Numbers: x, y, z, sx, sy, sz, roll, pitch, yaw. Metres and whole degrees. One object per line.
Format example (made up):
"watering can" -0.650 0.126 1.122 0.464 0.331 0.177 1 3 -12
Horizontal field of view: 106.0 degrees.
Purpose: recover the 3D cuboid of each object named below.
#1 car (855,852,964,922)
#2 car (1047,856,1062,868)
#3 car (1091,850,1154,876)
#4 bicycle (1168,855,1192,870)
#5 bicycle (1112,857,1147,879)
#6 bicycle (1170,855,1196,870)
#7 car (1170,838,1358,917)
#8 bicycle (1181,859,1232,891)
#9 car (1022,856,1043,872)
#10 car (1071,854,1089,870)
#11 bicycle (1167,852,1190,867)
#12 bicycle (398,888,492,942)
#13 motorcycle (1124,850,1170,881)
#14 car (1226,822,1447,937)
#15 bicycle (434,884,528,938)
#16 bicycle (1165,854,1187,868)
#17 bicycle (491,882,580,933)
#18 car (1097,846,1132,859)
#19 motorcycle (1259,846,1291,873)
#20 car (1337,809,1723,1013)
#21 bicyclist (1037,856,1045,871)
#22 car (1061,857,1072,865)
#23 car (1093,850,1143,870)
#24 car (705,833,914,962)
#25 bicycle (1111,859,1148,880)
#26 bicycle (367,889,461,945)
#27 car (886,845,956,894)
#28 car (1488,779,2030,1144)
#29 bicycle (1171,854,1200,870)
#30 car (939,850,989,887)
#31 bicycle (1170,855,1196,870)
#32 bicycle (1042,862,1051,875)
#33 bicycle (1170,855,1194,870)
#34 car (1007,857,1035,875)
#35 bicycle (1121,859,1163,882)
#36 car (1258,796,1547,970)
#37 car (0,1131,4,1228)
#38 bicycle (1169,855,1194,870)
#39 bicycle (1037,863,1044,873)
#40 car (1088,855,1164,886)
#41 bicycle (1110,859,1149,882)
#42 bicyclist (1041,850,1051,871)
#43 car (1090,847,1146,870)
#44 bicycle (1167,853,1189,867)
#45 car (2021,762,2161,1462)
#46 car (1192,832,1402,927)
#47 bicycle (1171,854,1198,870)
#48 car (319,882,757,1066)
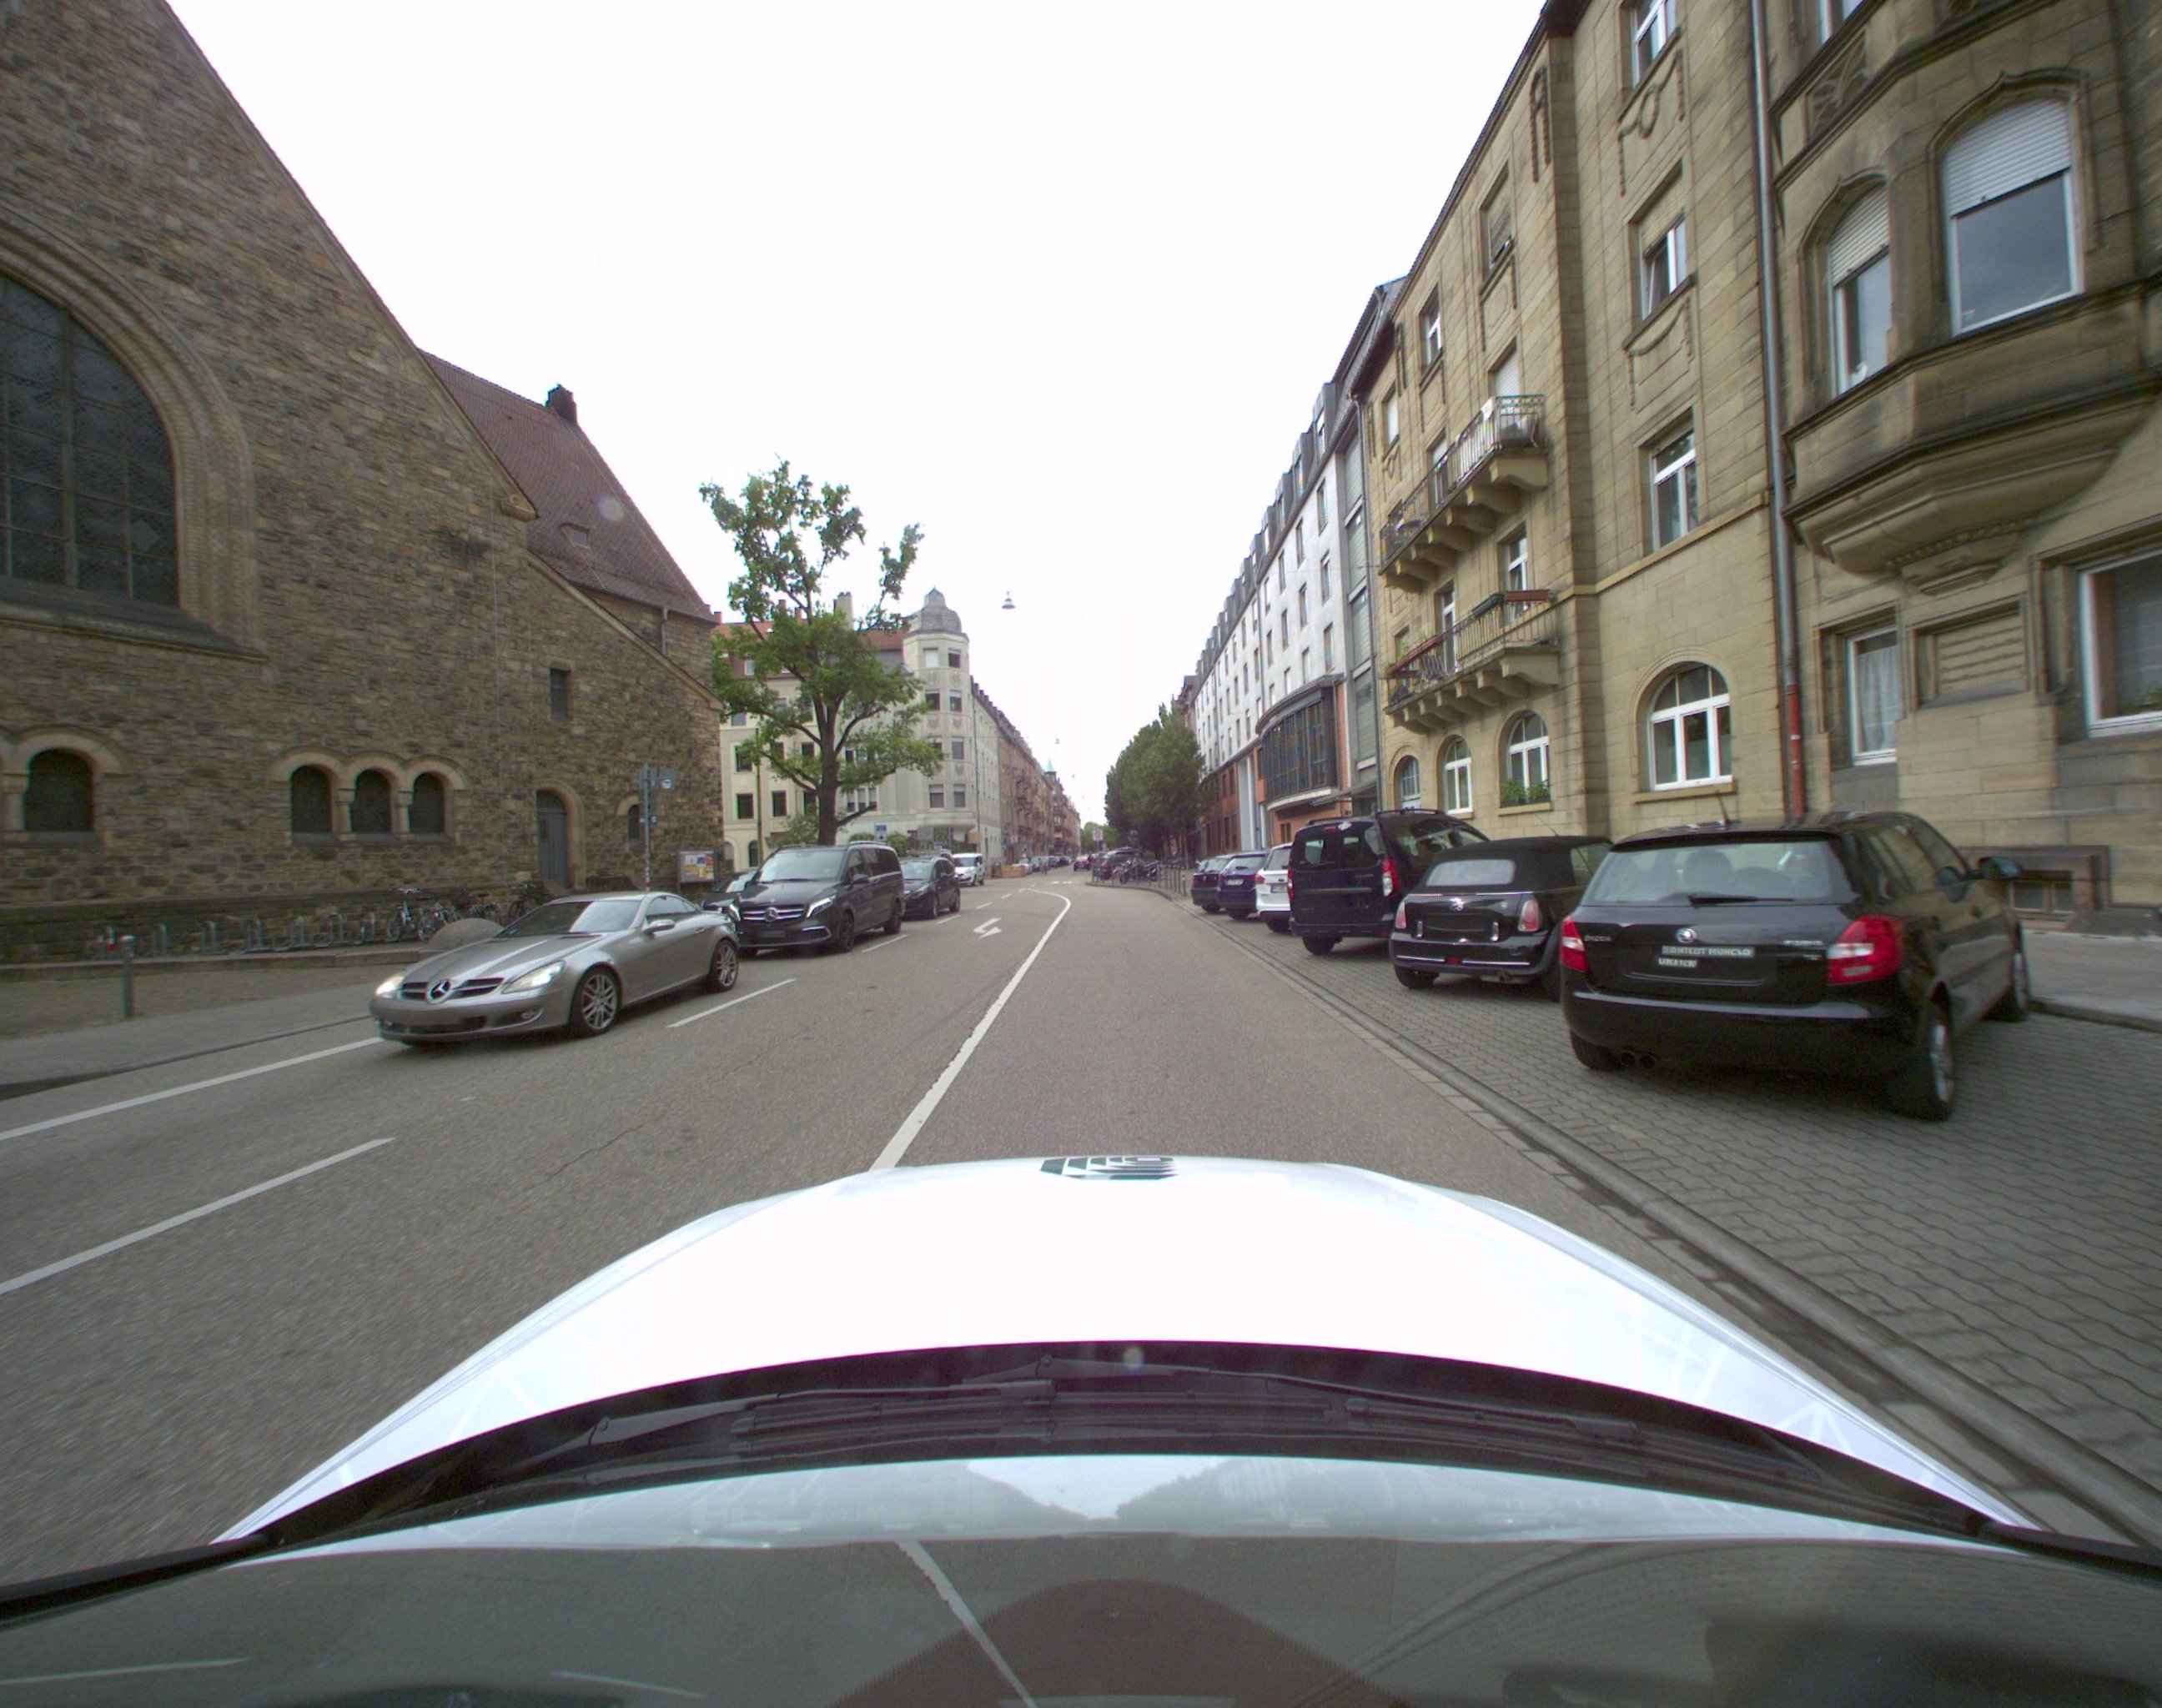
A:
"car" -4.574 0.820 22.454 1.837 1.684 4.551 -2 0 2
"car" -3.856 1.139 120.188 1.937 1.742 3.944 -1 -1 2
"car" 2.943 0.635 57.557 4.072 1.585 1.885 -2 -2 -30
"bicycle" 7.598 0.661 62.535 1.746 1.092 0.565 -2 -2 1
"bicycle" 2.731 0.792 45.708 1.878 1.141 0.611 -3 -2 -2
"bicycle" 7.452 0.630 59.723 1.829 1.092 0.543 -2 -2 1
"car" 4.523 0.523 20.094 4.266 1.478 1.672 -5 1 -23
"bicycle" 4.524 0.768 29.500 0.734 1.104 1.716 -3 -1 -40
"car" -5.129 1.018 86.632 1.937 1.617 3.944 -1 -1 2
"car" -0.078 0.876 90.424 1.987 1.681 4.000 -1 -2 0
"bicycle" 7.828 0.433 65.393 1.746 1.092 0.565 -2 -2 1
"bicycle" -14.008 1.339 17.948 1.765 1.130 0.664 -2 -1 14
"motorcycle" 3.222 0.560 40.064 2.128 1.429 0.770 -3 -2 -2
"car" 4.672 0.382 14.617 4.021 1.601 1.745 -6 1 -39
"bicycle" -13.796 1.310 18.732 1.765 1.166 0.744 -2 -1 14
"bicycle" 7.821 0.555 66.903 1.746 1.092 0.565 -2 -2 1
"bicycle" -13.065 1.282 19.525 1.765 1.152 0.744 -2 -1 14
"car" 5.393 -0.246 131.612 5.418 1.868 1.932 -3 -1 -28
"motorcycle" 9.219 0.235 38.795 1.024 1.202 2.209 -3 0 1
"car" 4.858 0.445 8.628 4.091 1.453 2.009 -6 0 -37
"bicyclist" -3.842 0.930 78.120 0.666 1.399 0.783 -1 -2 -1
"car" -2.759 1.355 152.723 1.988 1.321 3.997 -1 -1 -2
"car" 4.227 0.672 91.678 5.424 1.992 1.930 -2 -1 -33
"car" -4.754 0.675 15.245 1.904 1.954 5.286 -2 0 2
"bicycle" 2.607 0.844 43.599 1.878 1.043 0.611 -3 -2 -2
"bicycle" -14.155 1.335 17.291 1.766 1.125 0.570 -2 -1 14
"car" -7.215 0.664 37.266 2.006 2.014 5.184 -1 0 1
"car" 4.838 0.395 5.563 4.487 1.552 1.831 -3 0 -37
"bicycle" 7.471 0.583 58.308 1.926 1.092 0.577 -2 -2 1
"car" -6.545 0.750 45.890 1.835 1.939 4.552 -1 0 4
"bicycle" 7.593 0.637 60.516 1.829 1.092 0.565 -2 -2 1
"bicycle" -3.091 1.316 72.983 0.565 1.087 1.988 -2 0 3
"bicycle" 7.578 0.641 61.146 1.746 1.092 0.565 -2 -2 1
"car" -5.545 1.108 75.292 1.935 1.553 3.821 -3 -1 4
"bicycle" 3.070 0.838 41.187 2.003 1.062 0.611 -3 -2 -2
"car" 4.648 0.269 11.482 4.305 1.906 1.858 -5 1 -40
"car" -5.606 0.937 1.729 1.596 1.457 3.718 -4 -1 1
"bicycle" 7.636 0.652 61.929 1.746 1.092 0.565 -2 -2 1
"bicycle" -3.862 1.340 78.120 0.533 0.977 1.865 -1 -2 1
"car" 2.795 1.026 49.990 4.303 1.578 1.845 -4 0 -32
"bicycle" 2.492 0.853 41.982 1.924 1.043 0.611 -3 -2 -2
"bicyclist" -3.128 0.616 73.167 0.779 1.866 0.715 -2 0 3
"car" 3.822 0.459 83.639 5.646 2.127 1.930 -2 -1 -33
"bicycle" 7.854 0.506 66.100 1.746 1.092 0.565 -2 -2 1
"car" 4.601 0.412 2.628 4.487 1.574 1.727 -5 1 -37
"car" 4.610 0.481 17.329 4.011 1.533 1.915 -5 1 -28
"bicycle" 7.484 0.604 58.914 1.888 1.092 0.543 -2 -2 1
"car" -5.195 1.042 8.594 1.698 1.286 4.045 -4 -1 3
